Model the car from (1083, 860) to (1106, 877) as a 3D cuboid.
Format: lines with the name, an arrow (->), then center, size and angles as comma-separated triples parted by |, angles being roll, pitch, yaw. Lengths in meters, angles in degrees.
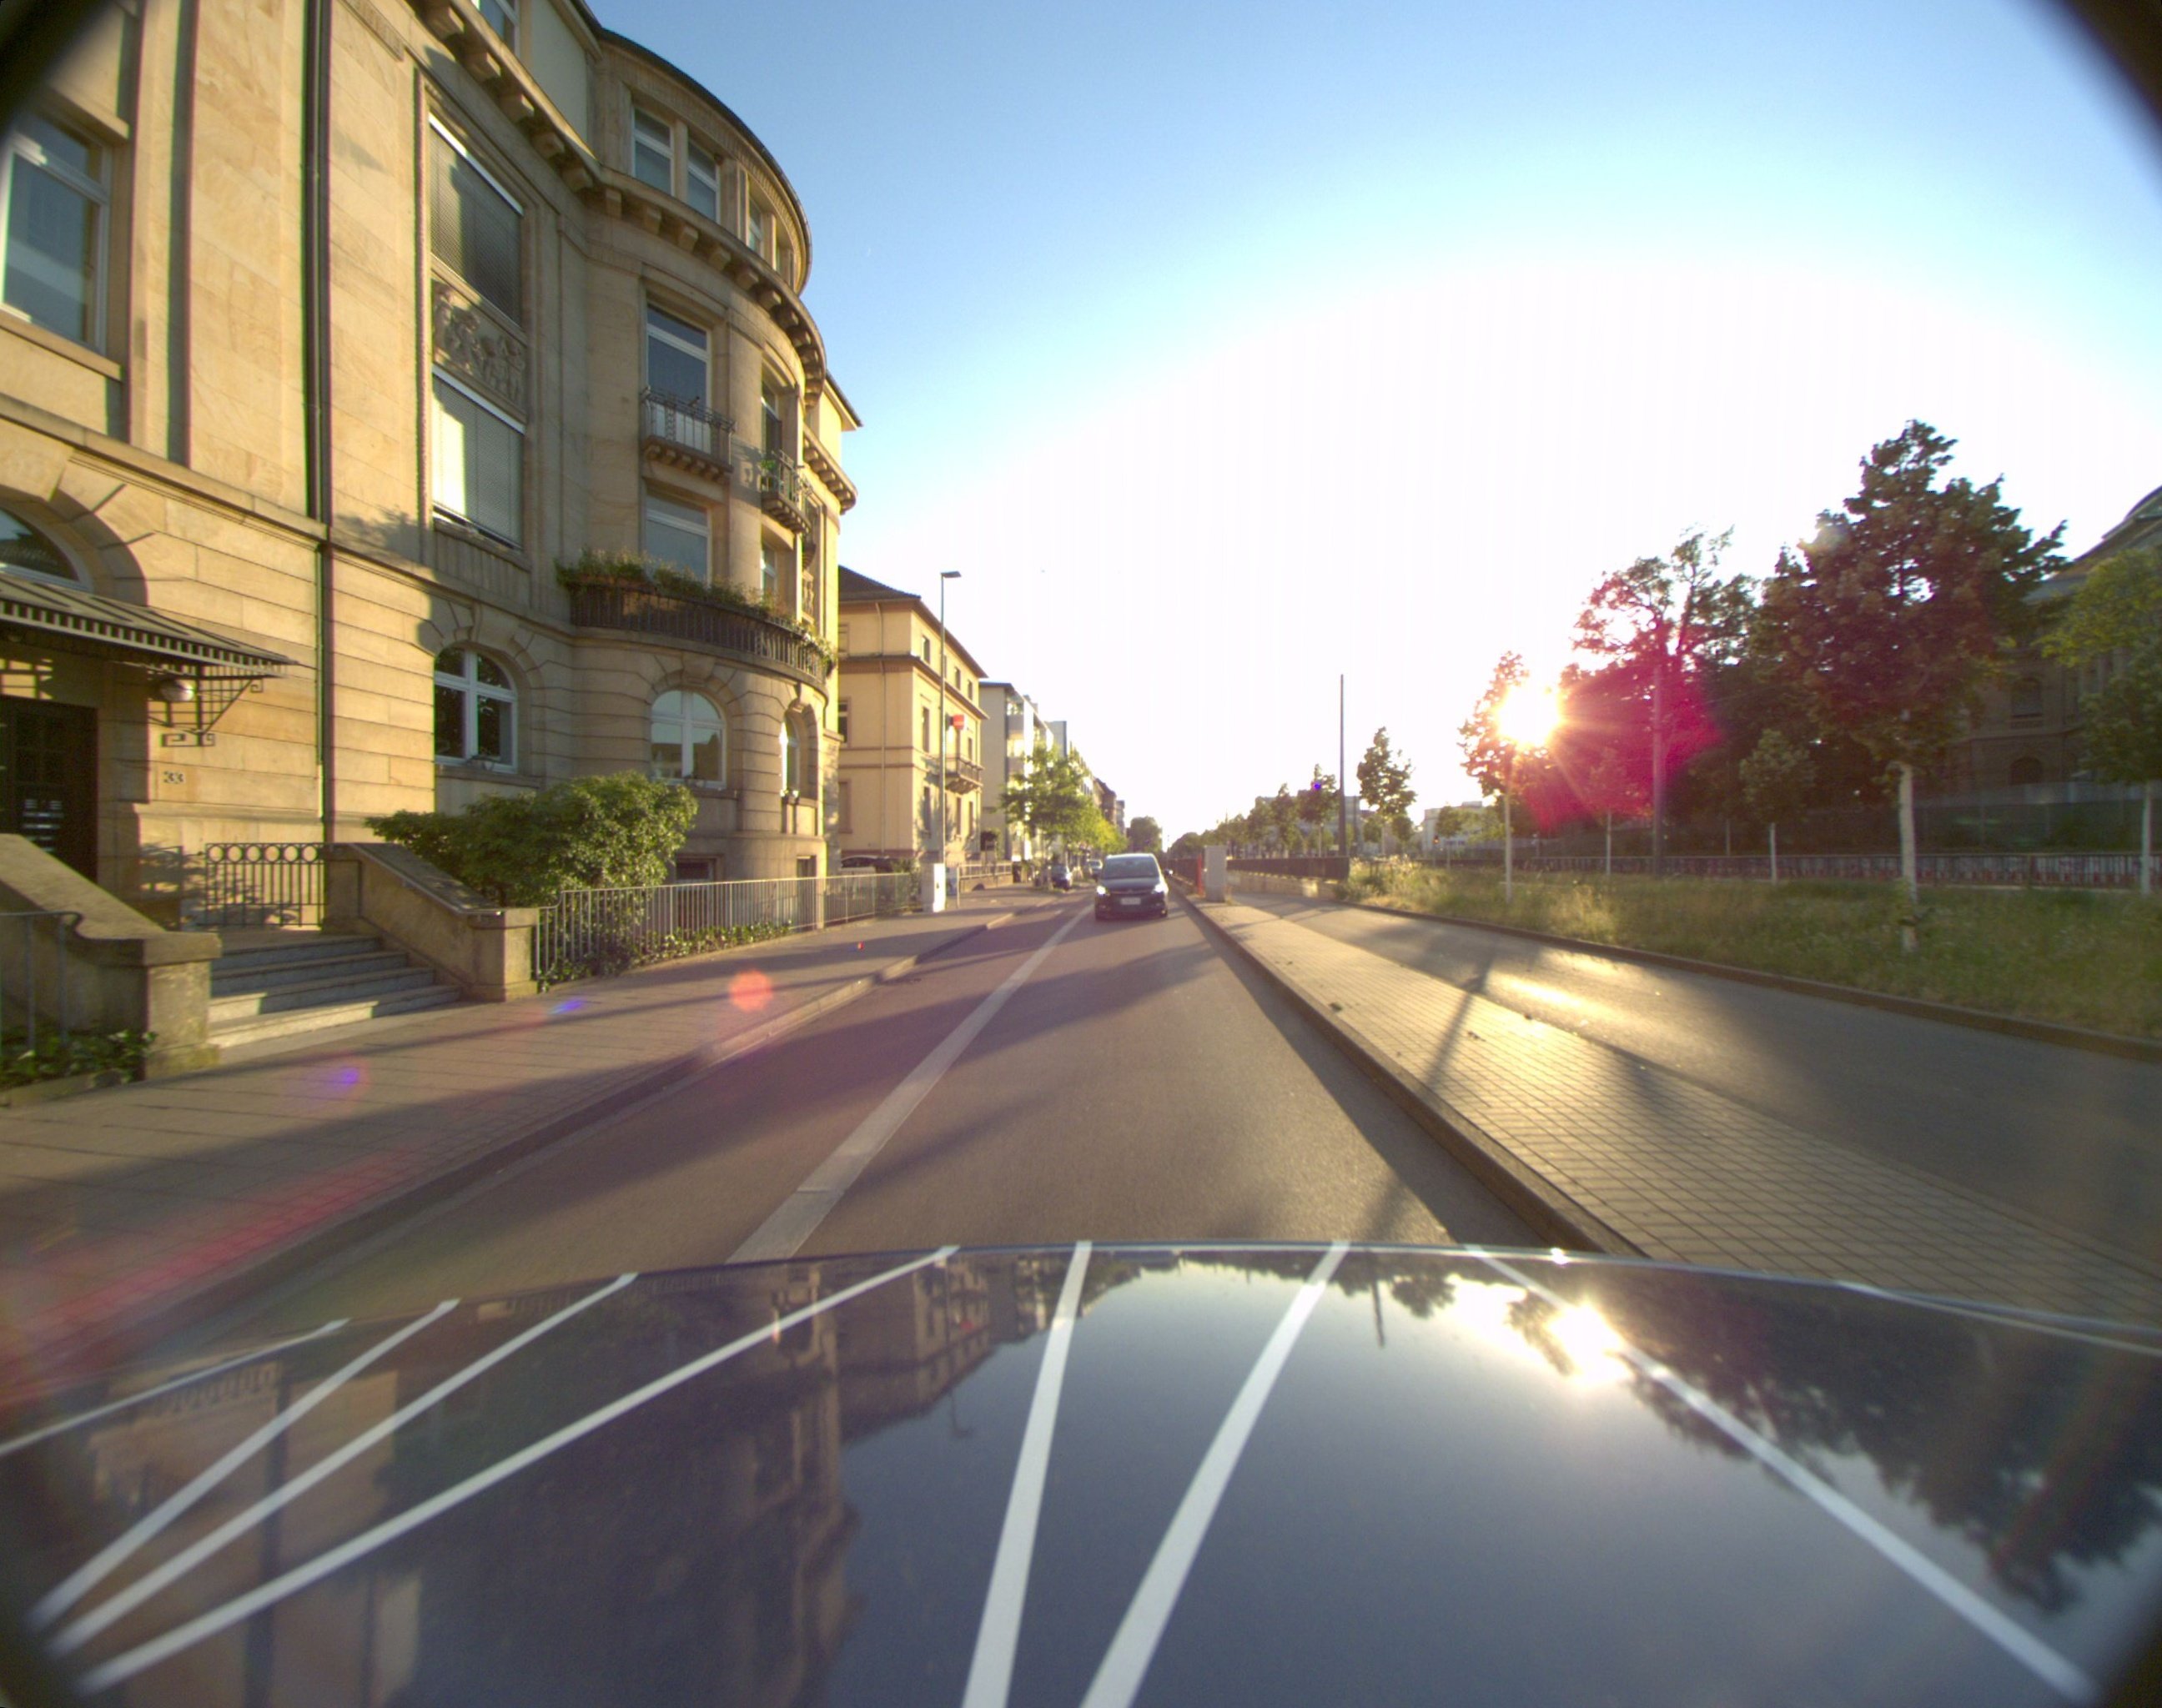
car -> 1.279, 1.299, 69.143 | 1.936, 1.472, 4.101 | -1, 0, 3

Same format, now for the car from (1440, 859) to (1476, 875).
car -> 38.552, 1.364, 77.805 | 1.936, 1.472, 4.526 | -2, -1, 7

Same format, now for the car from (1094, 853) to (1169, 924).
car -> 1.409, 0.817, 20.310 | 1.770, 1.649, 4.854 | 0, 0, 5

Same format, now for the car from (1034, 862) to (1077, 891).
car -> -1.291, 1.138, 40.162 | 1.881, 1.394, 4.101 | -1, 0, 3

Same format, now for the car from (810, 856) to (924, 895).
car -> -8.790, 0.868, 31.450 | 4.095, 1.472, 1.939 | -1, 0, 5

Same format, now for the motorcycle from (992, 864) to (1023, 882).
motorcycle -> -4.618, 1.179, 47.633 | 1.847, 1.090, 0.576 | -1, 0, 10

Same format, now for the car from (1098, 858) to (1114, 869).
car -> 3.242, 1.243, 99.280 | 1.936, 1.472, 4.101 | -1, 0, 3
